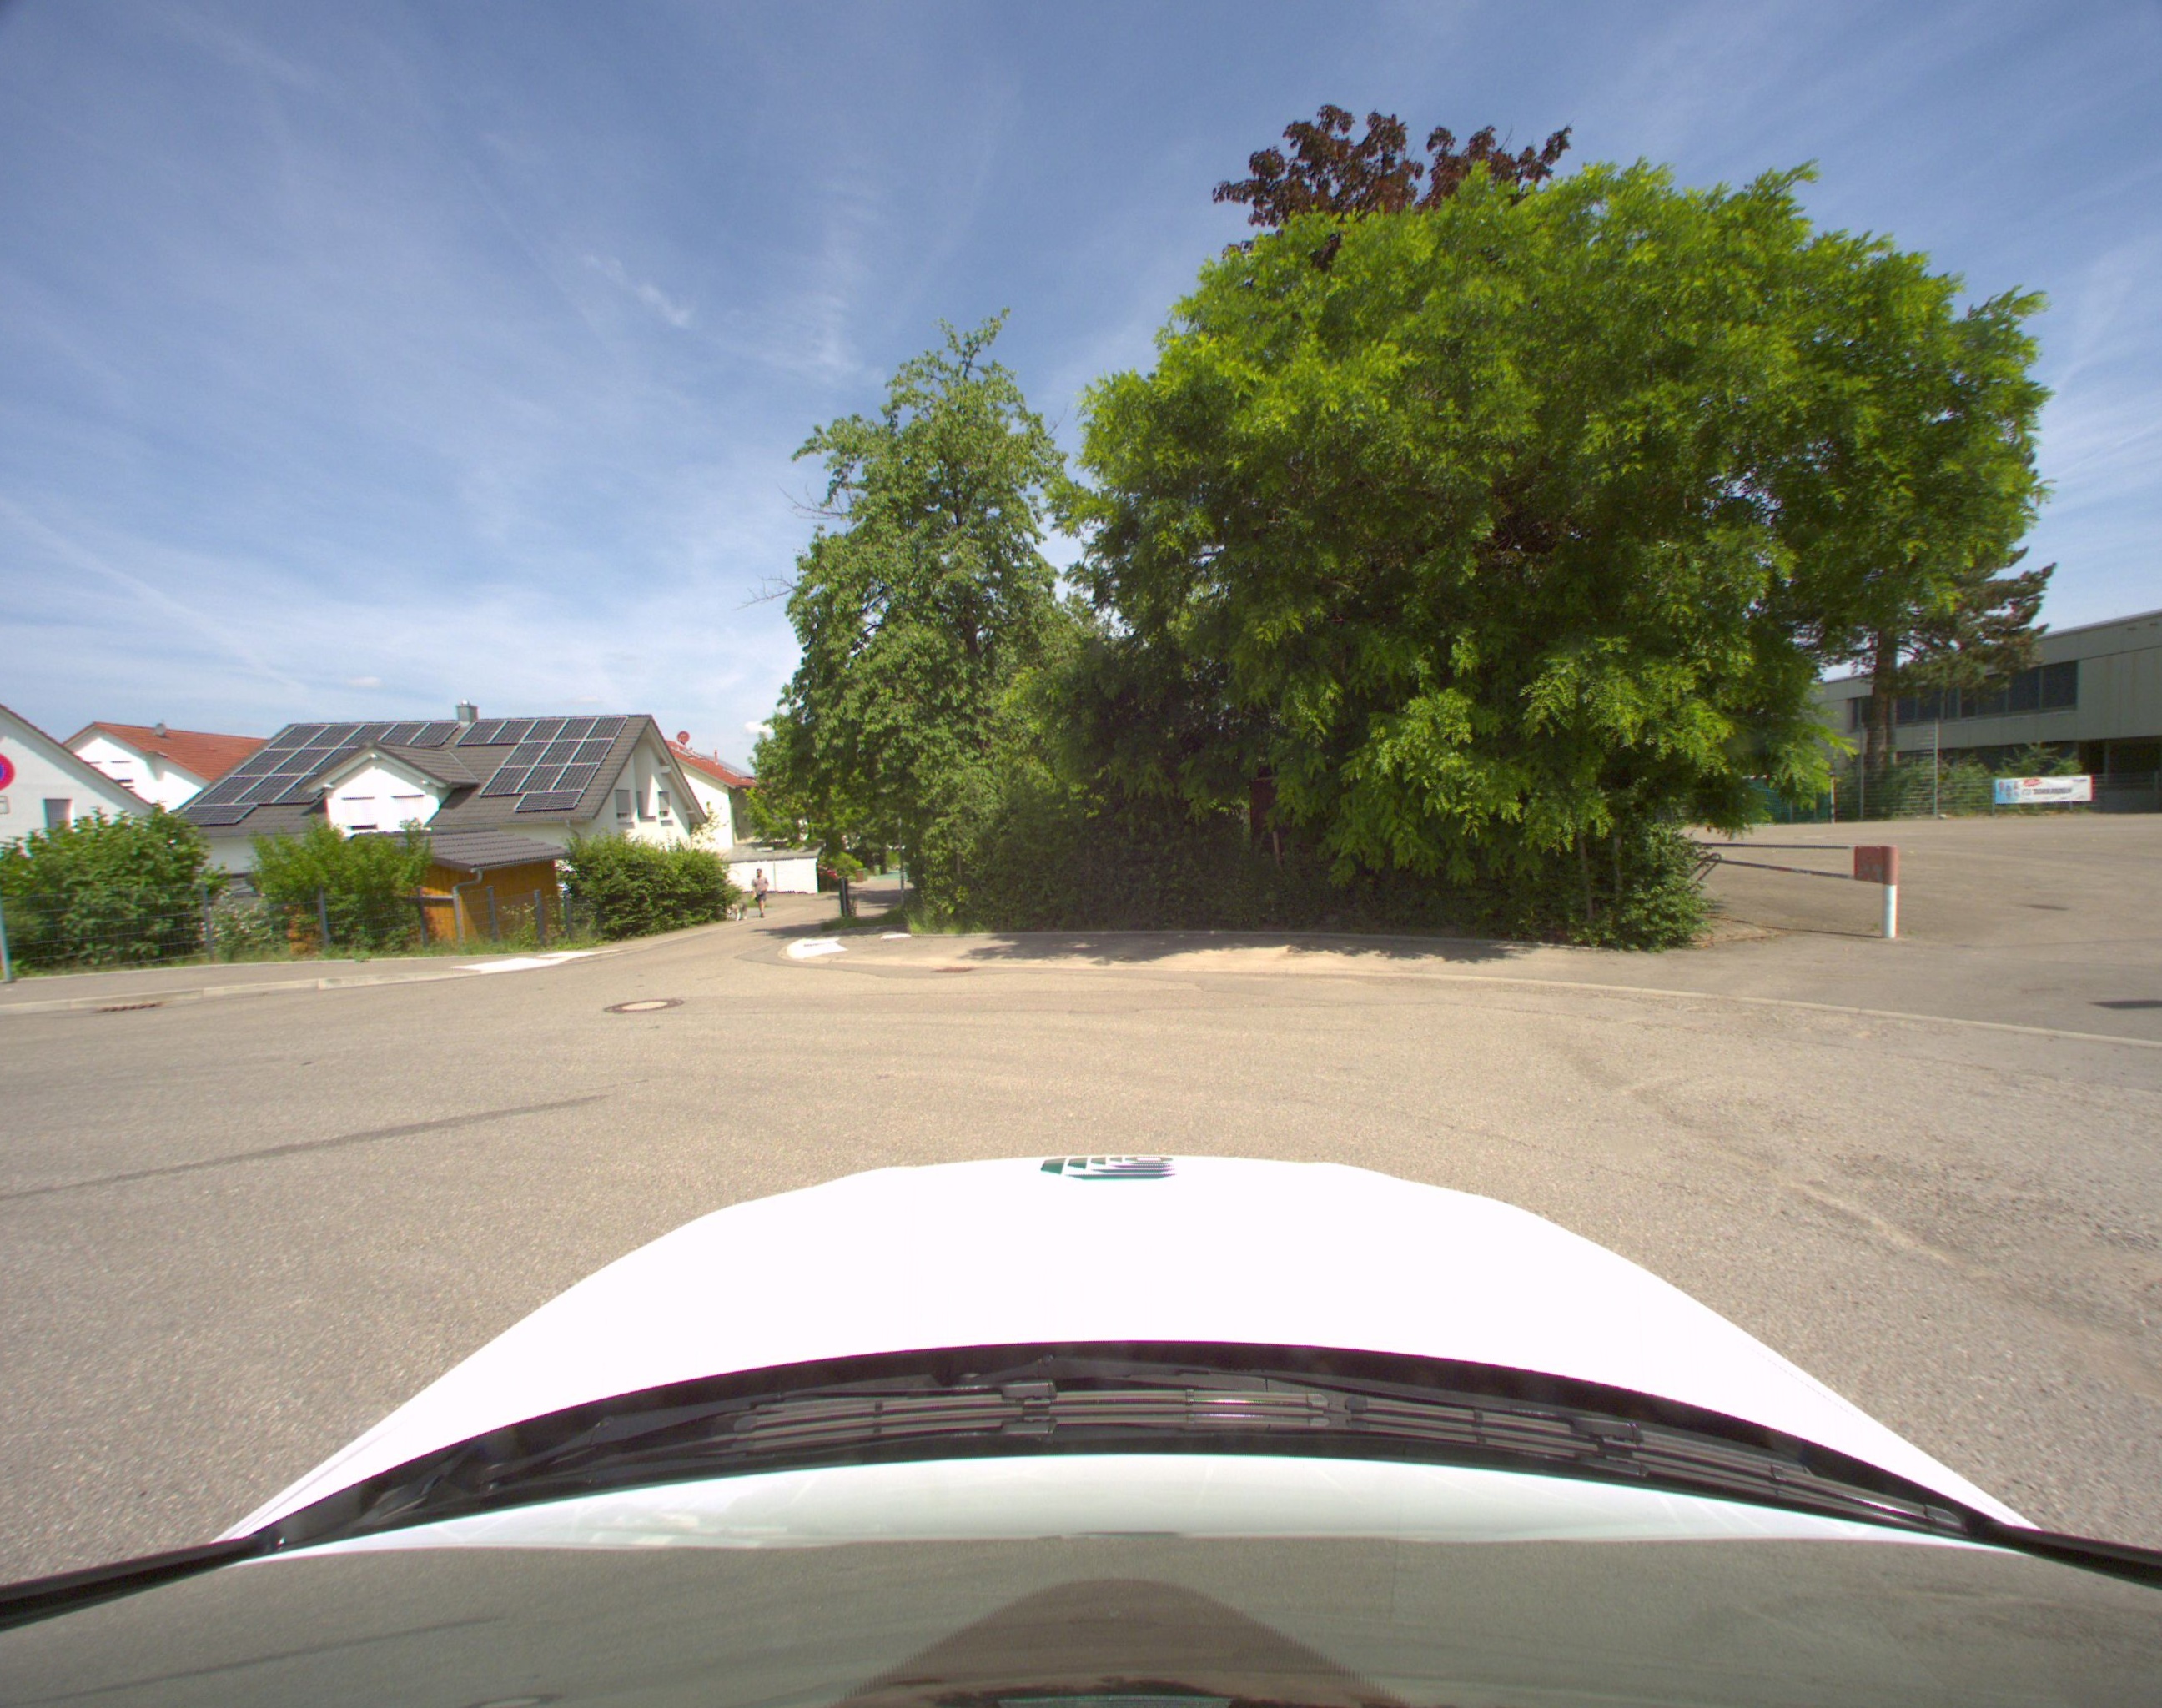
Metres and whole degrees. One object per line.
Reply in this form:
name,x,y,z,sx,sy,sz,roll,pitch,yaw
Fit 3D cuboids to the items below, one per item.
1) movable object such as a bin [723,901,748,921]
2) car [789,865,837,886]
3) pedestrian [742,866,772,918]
movable object such as a bin,-11.996,1.967,28.297,0.548,0.629,1.018,-2,-2,-8
car,-20.260,1.615,61.547,3.427,1.420,1.576,-1,1,-20
pedestrian,-11.850,1.406,29.801,0.847,1.820,0.830,-2,-4,-15
